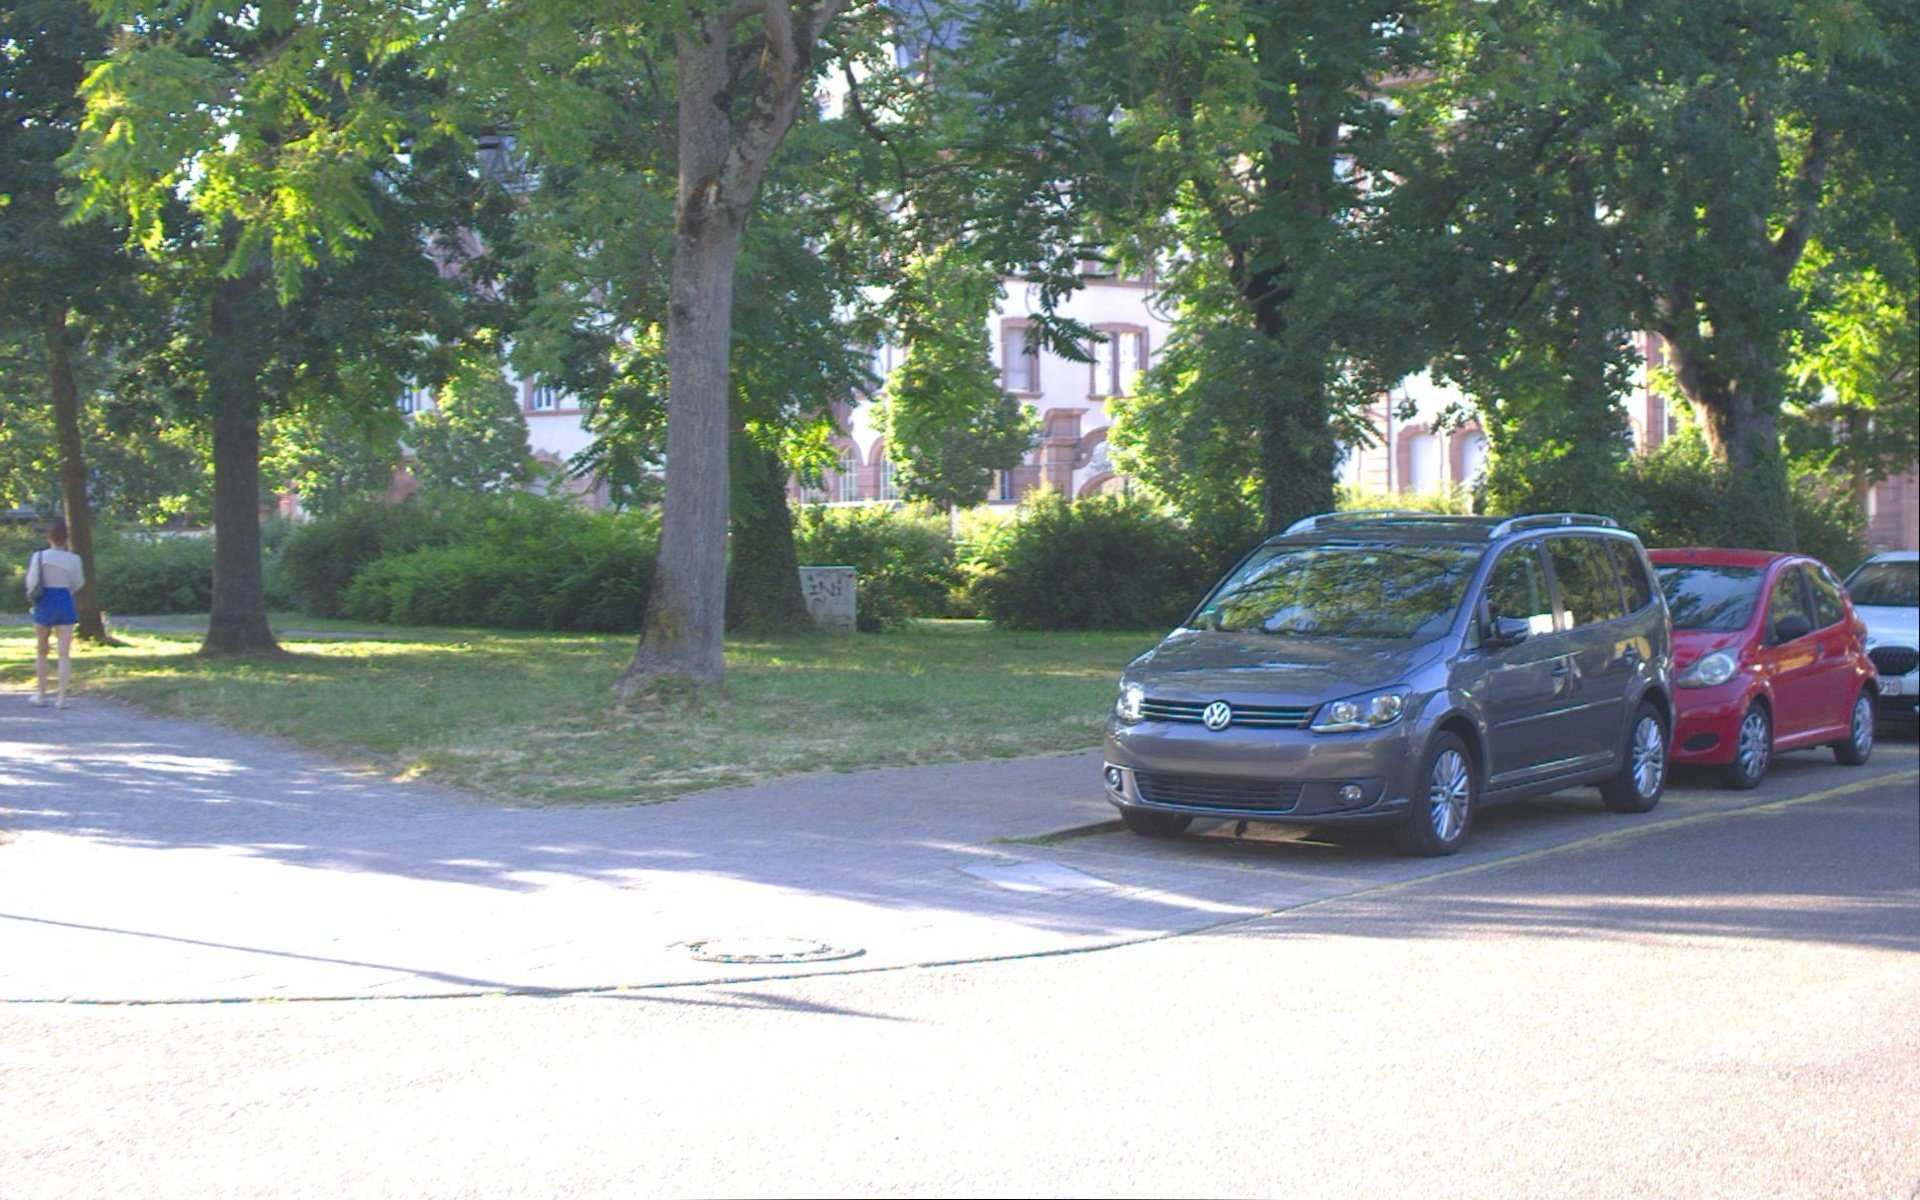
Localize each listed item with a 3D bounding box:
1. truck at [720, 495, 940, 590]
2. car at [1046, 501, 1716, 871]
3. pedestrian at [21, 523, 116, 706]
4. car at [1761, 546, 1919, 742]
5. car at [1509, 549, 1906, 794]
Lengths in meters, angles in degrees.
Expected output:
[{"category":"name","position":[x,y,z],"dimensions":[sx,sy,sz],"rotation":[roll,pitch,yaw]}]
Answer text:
[{"category":"truck","position":[-4.333,-1.903,112.697],"dimensions":[2.605,3.019,8.005],"rotation":[0,1,-43]},{"category":"car","position":[2.359,0.355,18.232],"dimensions":[1.805,1.670,4.313],"rotation":[3,2,32]},{"category":"pedestrian","position":[-7.800,0.116,30.109],"dimensions":[0.773,1.569,0.768],"rotation":[-1,1,-13]},{"category":"car","position":[7.846,0.303,27.167],"dimensions":[1.693,1.401,3.967],"rotation":[3,2,32]},{"category":"car","position":[4.923,0.400,22.365],"dimensions":[1.390,1.418,3.420],"rotation":[3,2,32]}]
